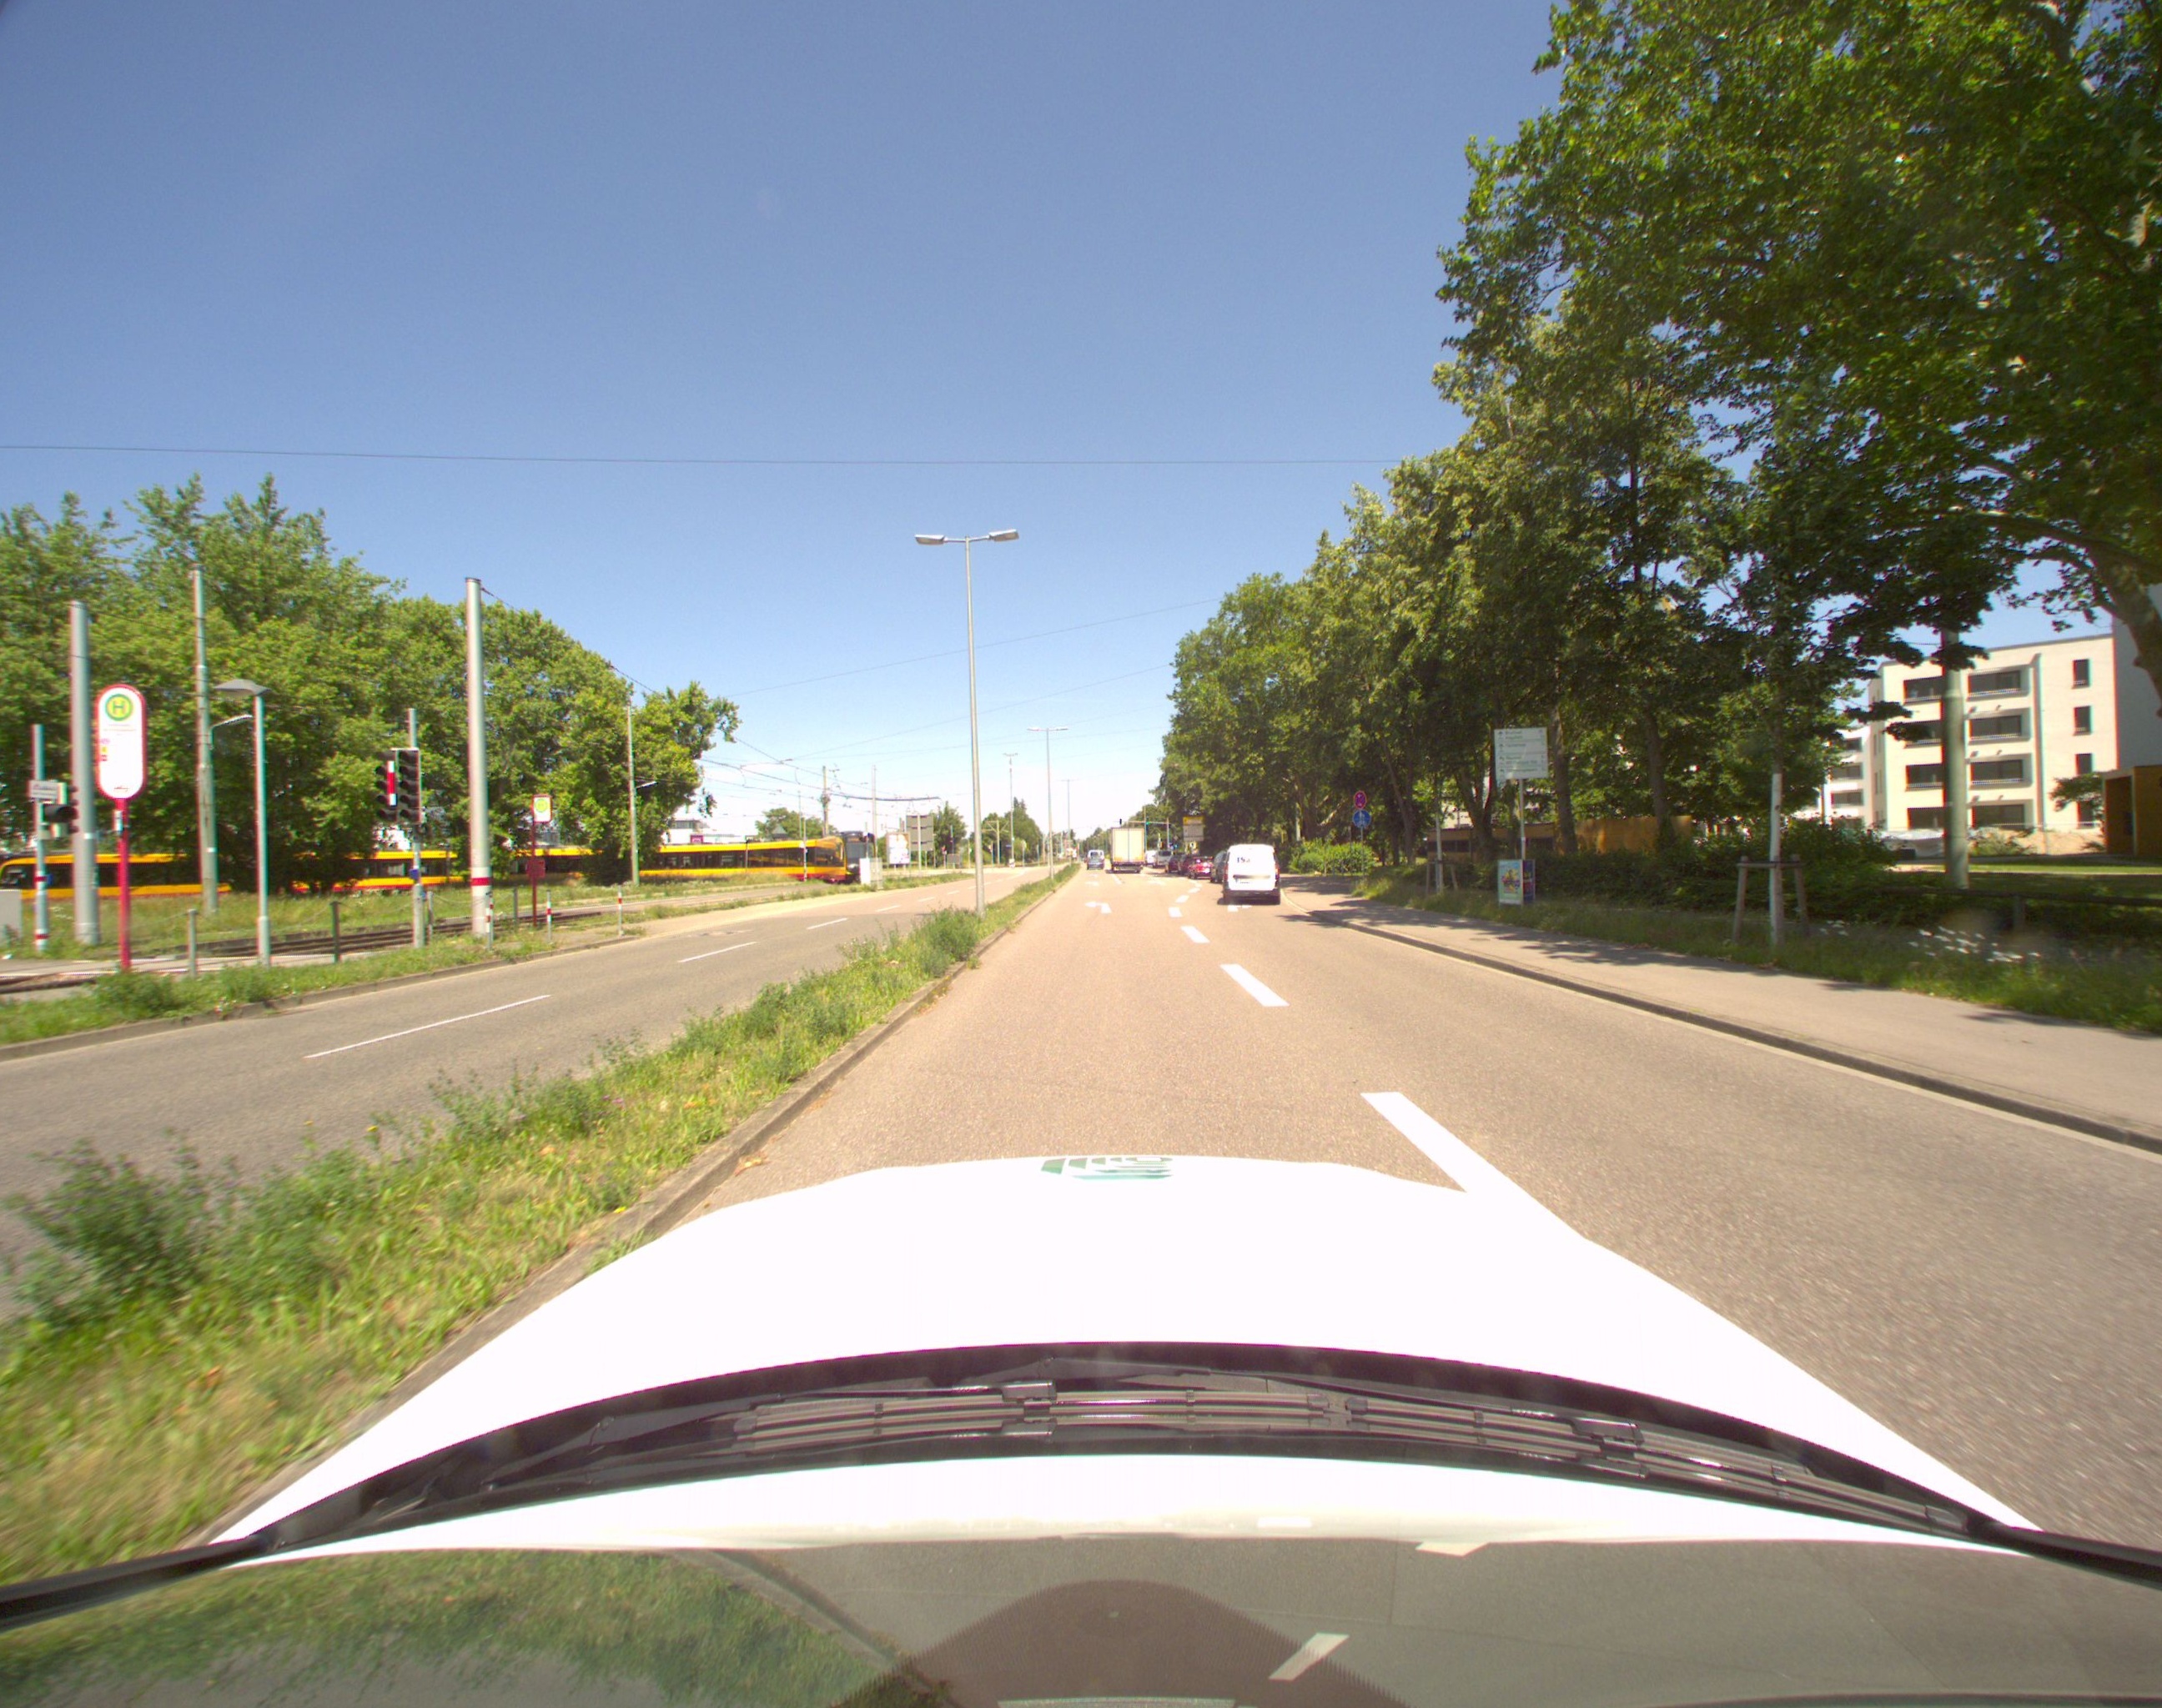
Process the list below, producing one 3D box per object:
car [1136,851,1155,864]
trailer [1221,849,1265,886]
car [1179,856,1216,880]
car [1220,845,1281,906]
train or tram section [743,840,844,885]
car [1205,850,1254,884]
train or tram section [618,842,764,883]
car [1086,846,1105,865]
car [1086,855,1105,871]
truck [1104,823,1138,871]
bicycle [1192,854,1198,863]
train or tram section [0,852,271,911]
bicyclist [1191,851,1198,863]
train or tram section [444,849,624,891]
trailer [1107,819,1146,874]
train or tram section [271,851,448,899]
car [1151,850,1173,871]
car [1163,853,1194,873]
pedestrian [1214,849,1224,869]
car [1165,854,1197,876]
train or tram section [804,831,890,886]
[{"bbox_3d":[7.884,0.403,99.974,1.986,1.437,4.252,-1,1,1],"label":"car"},{"bbox_3d":[7.555,0.617,38.179,1.464,1.669,2.855,0,0,-1],"label":"trailer"},{"bbox_3d":[7.136,0.829,50.120,1.649,1.396,4.266,0,0,0],"label":"car"},{"bbox_3d":[5.315,0.613,25.723,1.699,1.747,4.440,0,0,11],"label":"car"},{"bbox_3d":[-23.933,0.657,67.445,10.092,3.466,3.065,0,0,38],"label":"train or tram section"},{"bbox_3d":[7.550,0.639,41.832,1.694,1.654,4.397,0,0,0],"label":"car"},{"bbox_3d":[-34.484,0.735,72.007,12.615,3.466,3.058,0,0,15],"label":"train or tram section"},{"bbox_3d":[1.599,0.174,92.884,1.988,2.111,4.745,-1,1,-1],"label":"car"},{"bbox_3d":[1.504,0.942,84.863,1.886,1.372,4.429,-2,-3,1],"label":"car"},{"bbox_3d":[3.787,-0.671,78.144,2.818,4.344,8.283,0,1,0],"label":"truck"},{"bbox_3d":[16.641,0.616,118.522,0.640,1.304,1.631,-4,-1,12],"label":"bicycle"},{"bbox_3d":[-63.094,1.628,53.977,3.011,3.466,13.332,0,0,20],"label":"train or tram section"},{"bbox_3d":[16.480,0.415,118.536,0.797,1.727,0.681,-4,-1,12],"label":"bicyclist"},{"bbox_3d":[-47.268,1.322,71.140,12.781,3.466,3.019,0,0,-28],"label":"train or tram section"},{"bbox_3d":[3.795,-0.599,69.623,2.818,4.421,8.747,0,0,0],"label":"trailer"},{"bbox_3d":[-56.788,1.540,64.420,3.008,3.466,10.285,0,0,44],"label":"train or tram section"},{"bbox_3d":[8.553,0.665,86.229,1.885,2.121,3.886,0,0,0],"label":"car"},{"bbox_3d":[8.299,0.748,69.760,1.988,1.503,4.501,-1,0,-1],"label":"car"},{"bbox_3d":[12.639,0.479,74.454,0.750,1.816,0.693,-2,0,0],"label":"pedestrian"},{"bbox_3d":[7.330,0.780,60.152,1.852,1.549,3.886,0,0,0],"label":"car"},{"bbox_3d":[-16.916,0.254,57.970,3.055,3.466,13.168,0,0,-29],"label":"train or tram section"}]
